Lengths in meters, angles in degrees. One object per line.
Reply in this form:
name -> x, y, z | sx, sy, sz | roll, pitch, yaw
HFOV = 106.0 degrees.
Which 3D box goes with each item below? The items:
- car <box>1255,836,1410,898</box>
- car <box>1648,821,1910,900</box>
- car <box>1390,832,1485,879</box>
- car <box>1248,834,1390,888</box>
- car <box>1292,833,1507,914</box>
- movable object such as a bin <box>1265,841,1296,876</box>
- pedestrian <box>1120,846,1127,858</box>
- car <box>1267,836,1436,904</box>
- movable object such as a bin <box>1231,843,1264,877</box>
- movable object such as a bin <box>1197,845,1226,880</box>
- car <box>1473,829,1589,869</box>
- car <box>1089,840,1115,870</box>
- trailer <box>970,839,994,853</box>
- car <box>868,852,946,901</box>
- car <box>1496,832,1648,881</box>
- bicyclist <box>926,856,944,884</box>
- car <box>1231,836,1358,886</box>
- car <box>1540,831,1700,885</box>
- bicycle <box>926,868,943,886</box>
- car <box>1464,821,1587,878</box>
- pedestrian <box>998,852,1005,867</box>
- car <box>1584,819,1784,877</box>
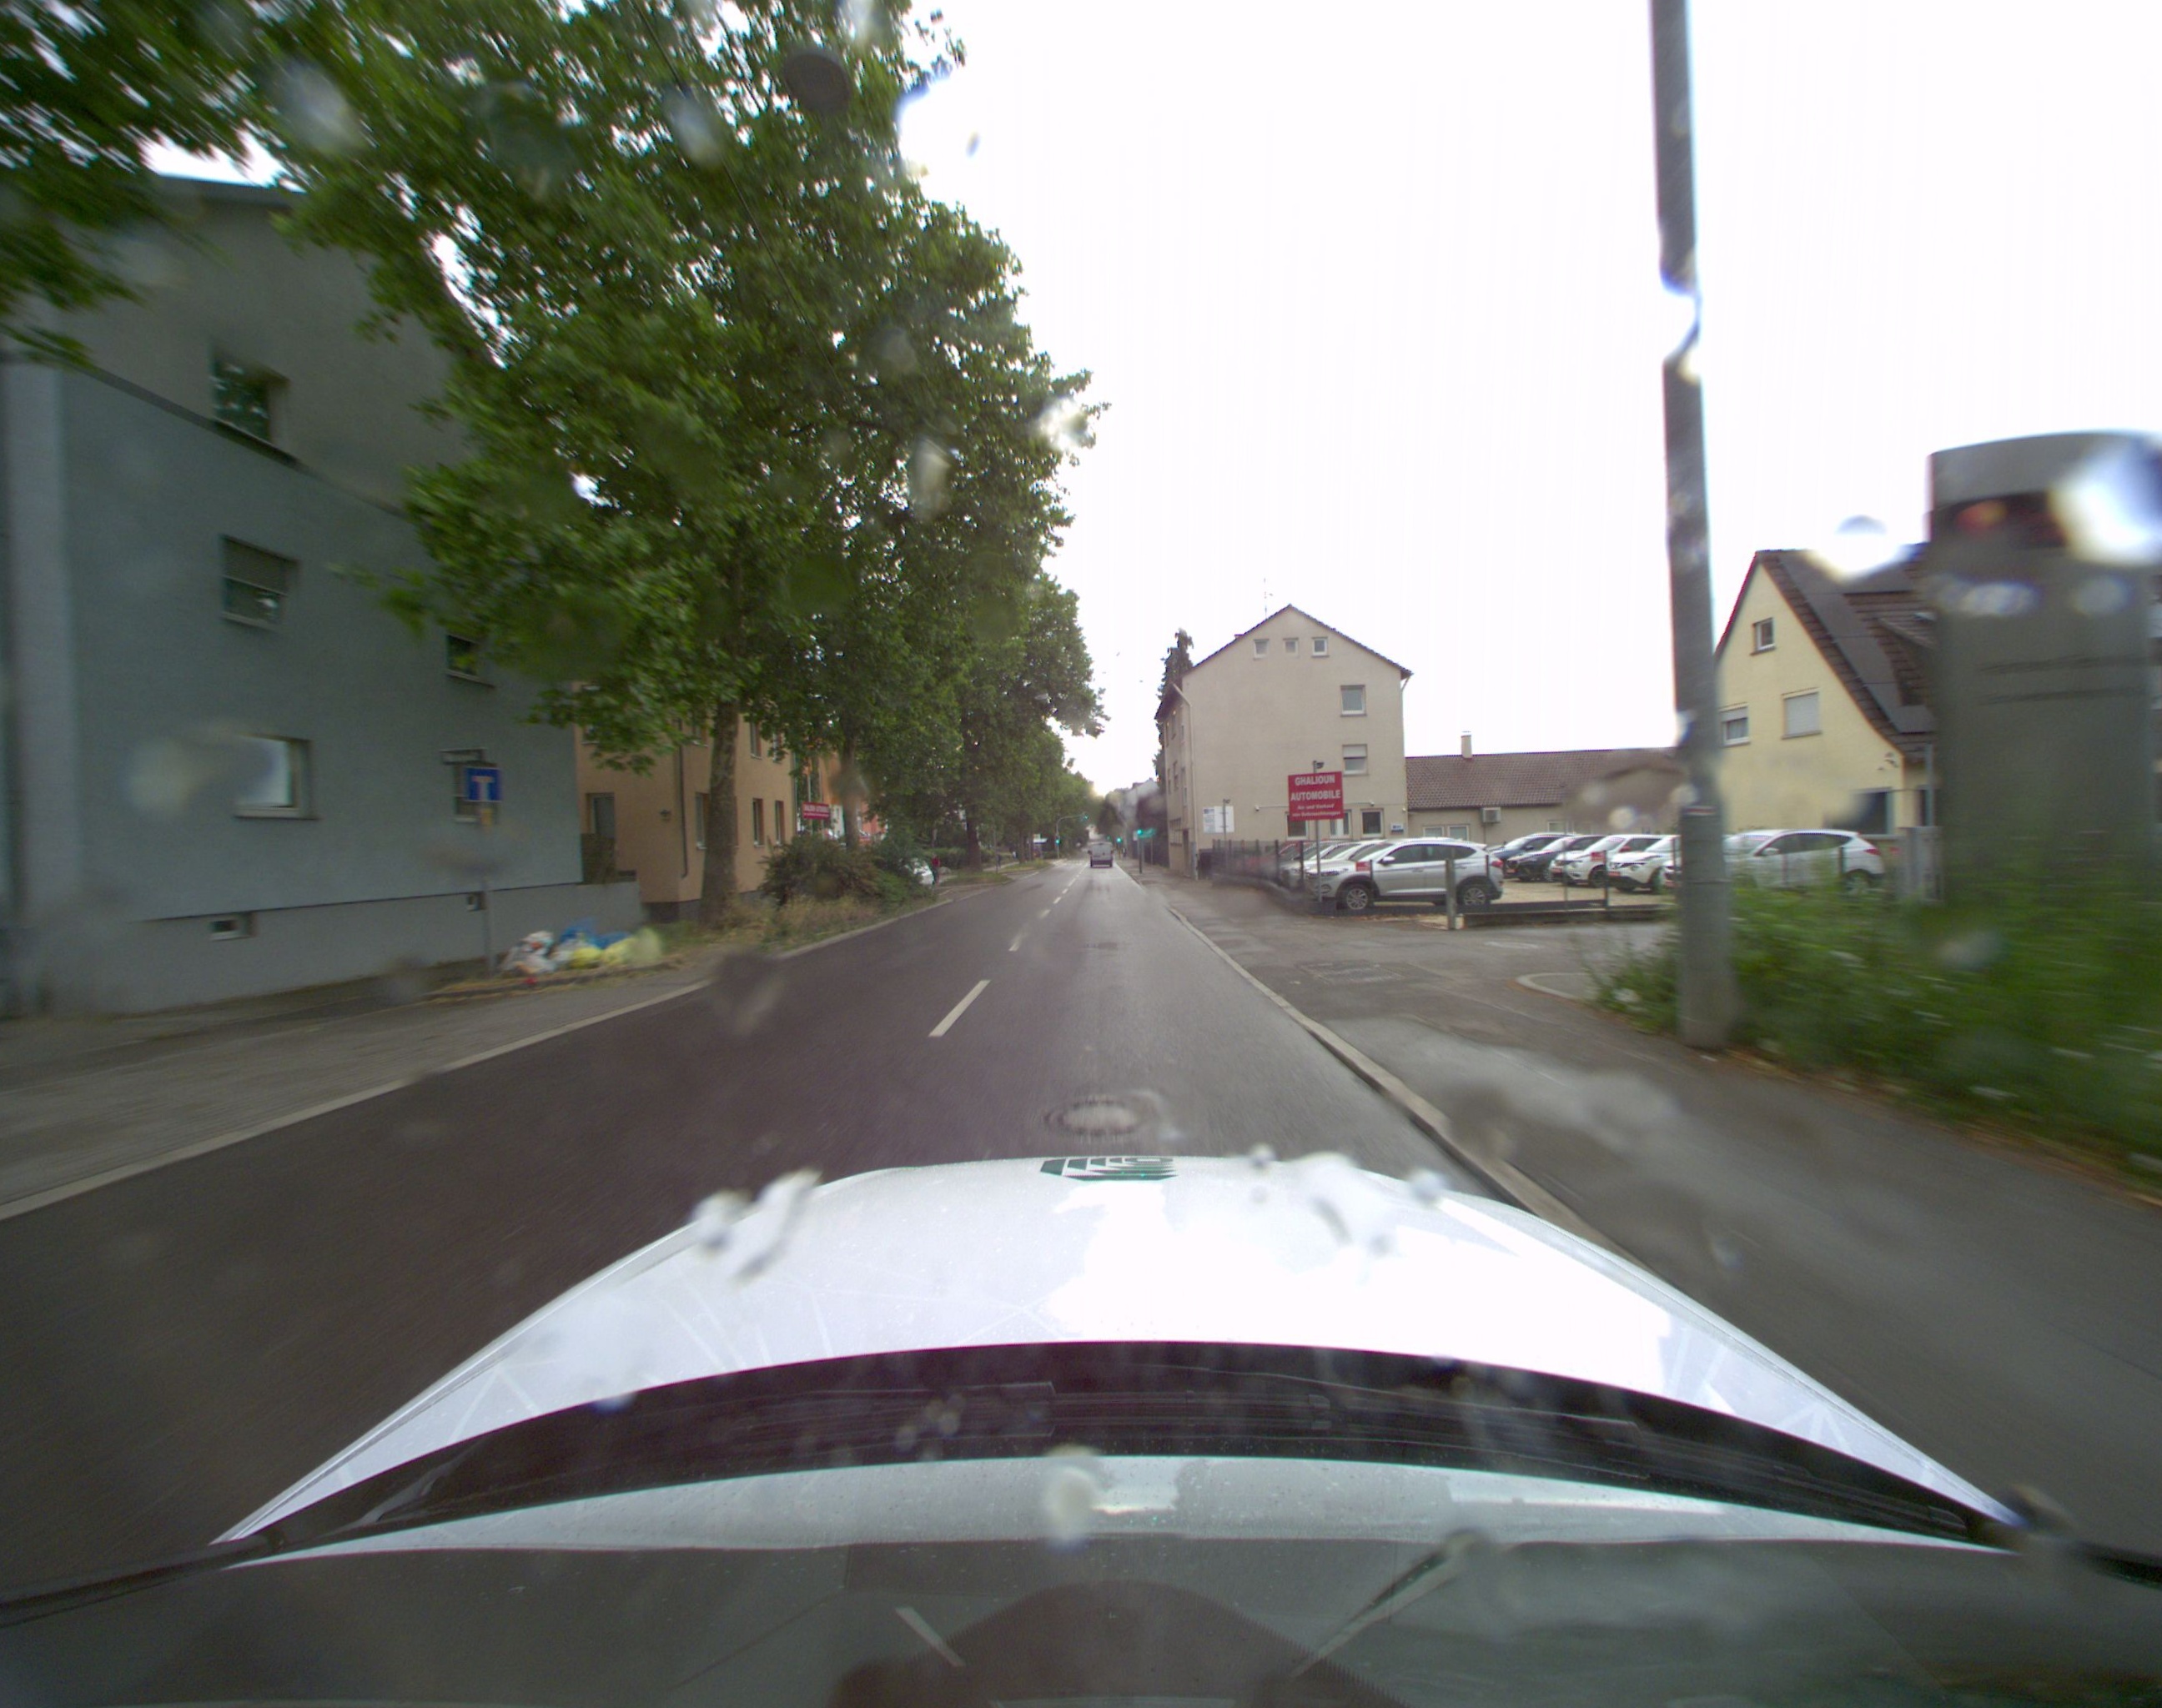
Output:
car -> 7.393, 0.384, 24.218 | 4.052, 1.736, 1.870 | 0, -1, 1
car -> 16.171, 0.144, 19.046 | 4.487, 1.626, 1.870 | -2, 0, 1
car -> 12.444, 0.067, 28.702 | 1.802, 1.530, 3.627 | 0, -1, 1
car -> 7.855, 0.236, 27.133 | 4.213, 1.736, 1.870 | 0, -1, 1
car -> 7.352, 0.447, 19.159 | 4.287, 1.768, 2.000 | -1, -1, 1
movable object such as a bin -> 9.296, 0.209, 38.005 | 1.106, 1.509, 1.010 | -4, -1, 0
pedestrian -> 5.699, -0.263, 108.829 | 0.741, 1.704, 0.900 | 0, -1, -4
car -> 7.126, 0.411, 21.740 | 3.935, 1.724, 1.791 | 0, 0, 1
movable object such as a bin -> 7.756, 0.288, 38.020 | 1.230, 1.509, 1.111 | -4, -1, 0
movable object such as a bin -> 6.103, 0.399, 38.112 | 1.106, 1.509, 0.987 | -4, -1, 0
car -> 18.642, -0.172, 33.955 | 3.955, 1.593, 1.830 | -1, -1, 18
car -> 1.919, 0.124, 74.689 | 2.274, 2.553, 4.001 | -2, -1, 1
trailer -> -12.055, -0.999, 98.990 | 2.694, 1.645, 1.480 | -1, 0, 1
car -> -6.132, 0.734, 29.137 | 1.779, 1.551, 4.352 | -1, 1, 1
car -> 16.503, 0.094, 27.523 | 4.071, 1.600, 1.794 | 0, -1, -1
bicyclist -> -8.197, 0.874, 45.806 | 0.830, 1.553, 0.816 | 0, -1, 0
car -> 7.767, 0.263, 29.903 | 4.213, 1.736, 1.870 | 0, -1, 1
car -> 16.265, 0.115, 24.677 | 3.754, 1.532, 1.757 | 0, 0, -3
bicycle -> -8.212, 1.280, 45.724 | 0.552, 0.996, 2.265 | 0, -1, 0
car -> 16.290, -0.162, 29.949 | 3.569, 2.014, 1.723 | 0, -1, -2
pedestrian -> -8.127, 0.564, 83.290 | 0.754, 1.611, 0.834 | 0, -1, -3
car -> 16.239, -0.143, 22.104 | 3.974, 1.468, 1.999 | 0, -1, -1
